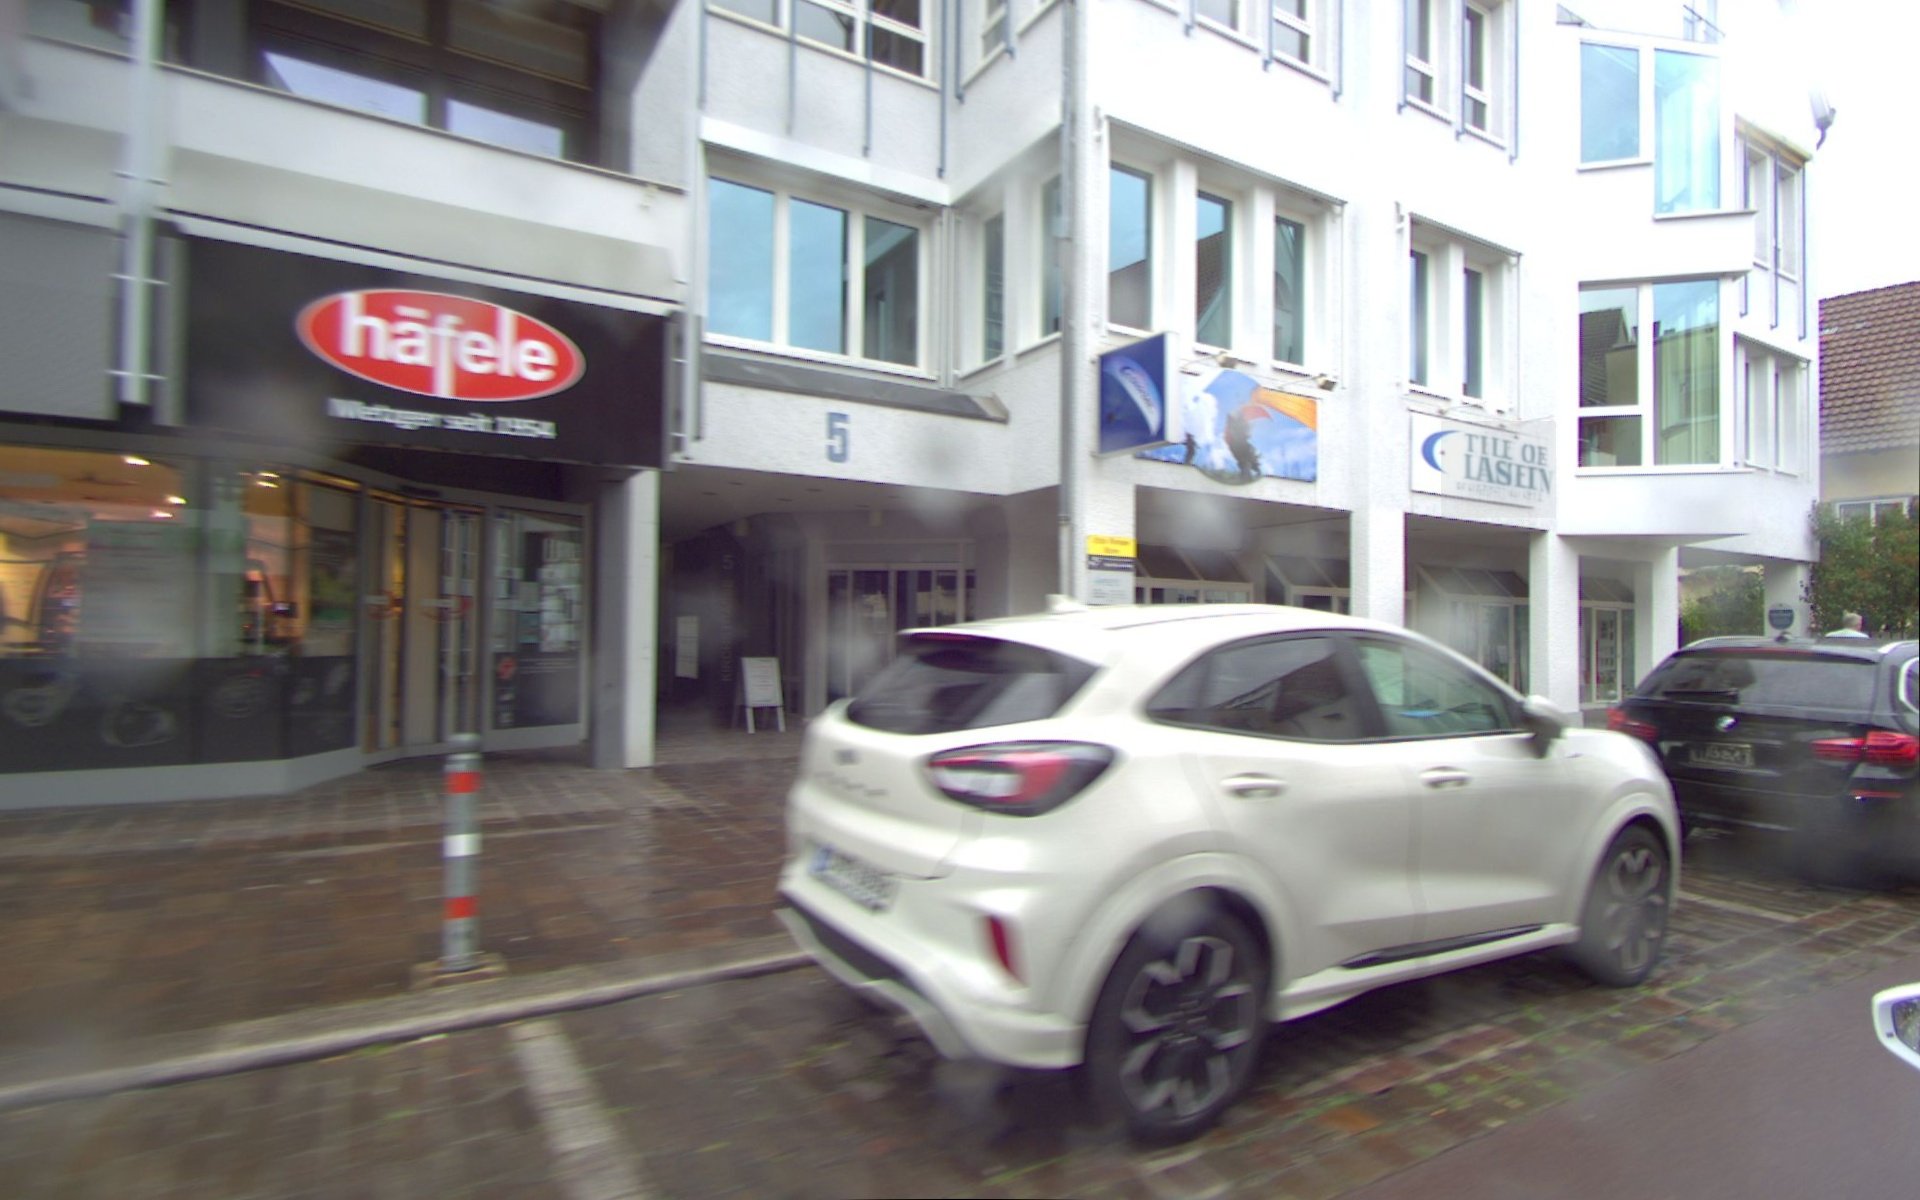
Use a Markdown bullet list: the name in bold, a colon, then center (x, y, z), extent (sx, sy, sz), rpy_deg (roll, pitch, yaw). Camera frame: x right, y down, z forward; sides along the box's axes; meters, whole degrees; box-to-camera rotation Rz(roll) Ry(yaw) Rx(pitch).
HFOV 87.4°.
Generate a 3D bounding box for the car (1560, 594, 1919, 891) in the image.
- **car**: center (6.503, 0.841, 7.128), extent (4.707, 1.518, 1.822), rpy_deg (2, -3, -30)

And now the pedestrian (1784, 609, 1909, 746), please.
- **pedestrian**: center (12.482, 1.058, 14.148), extent (1.103, 1.830, 1.030), rpy_deg (2, -1, -31)

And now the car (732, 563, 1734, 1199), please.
- **car**: center (1.270, 0.723, 4.184), extent (3.955, 1.571, 1.781), rpy_deg (2, 1, -32)
